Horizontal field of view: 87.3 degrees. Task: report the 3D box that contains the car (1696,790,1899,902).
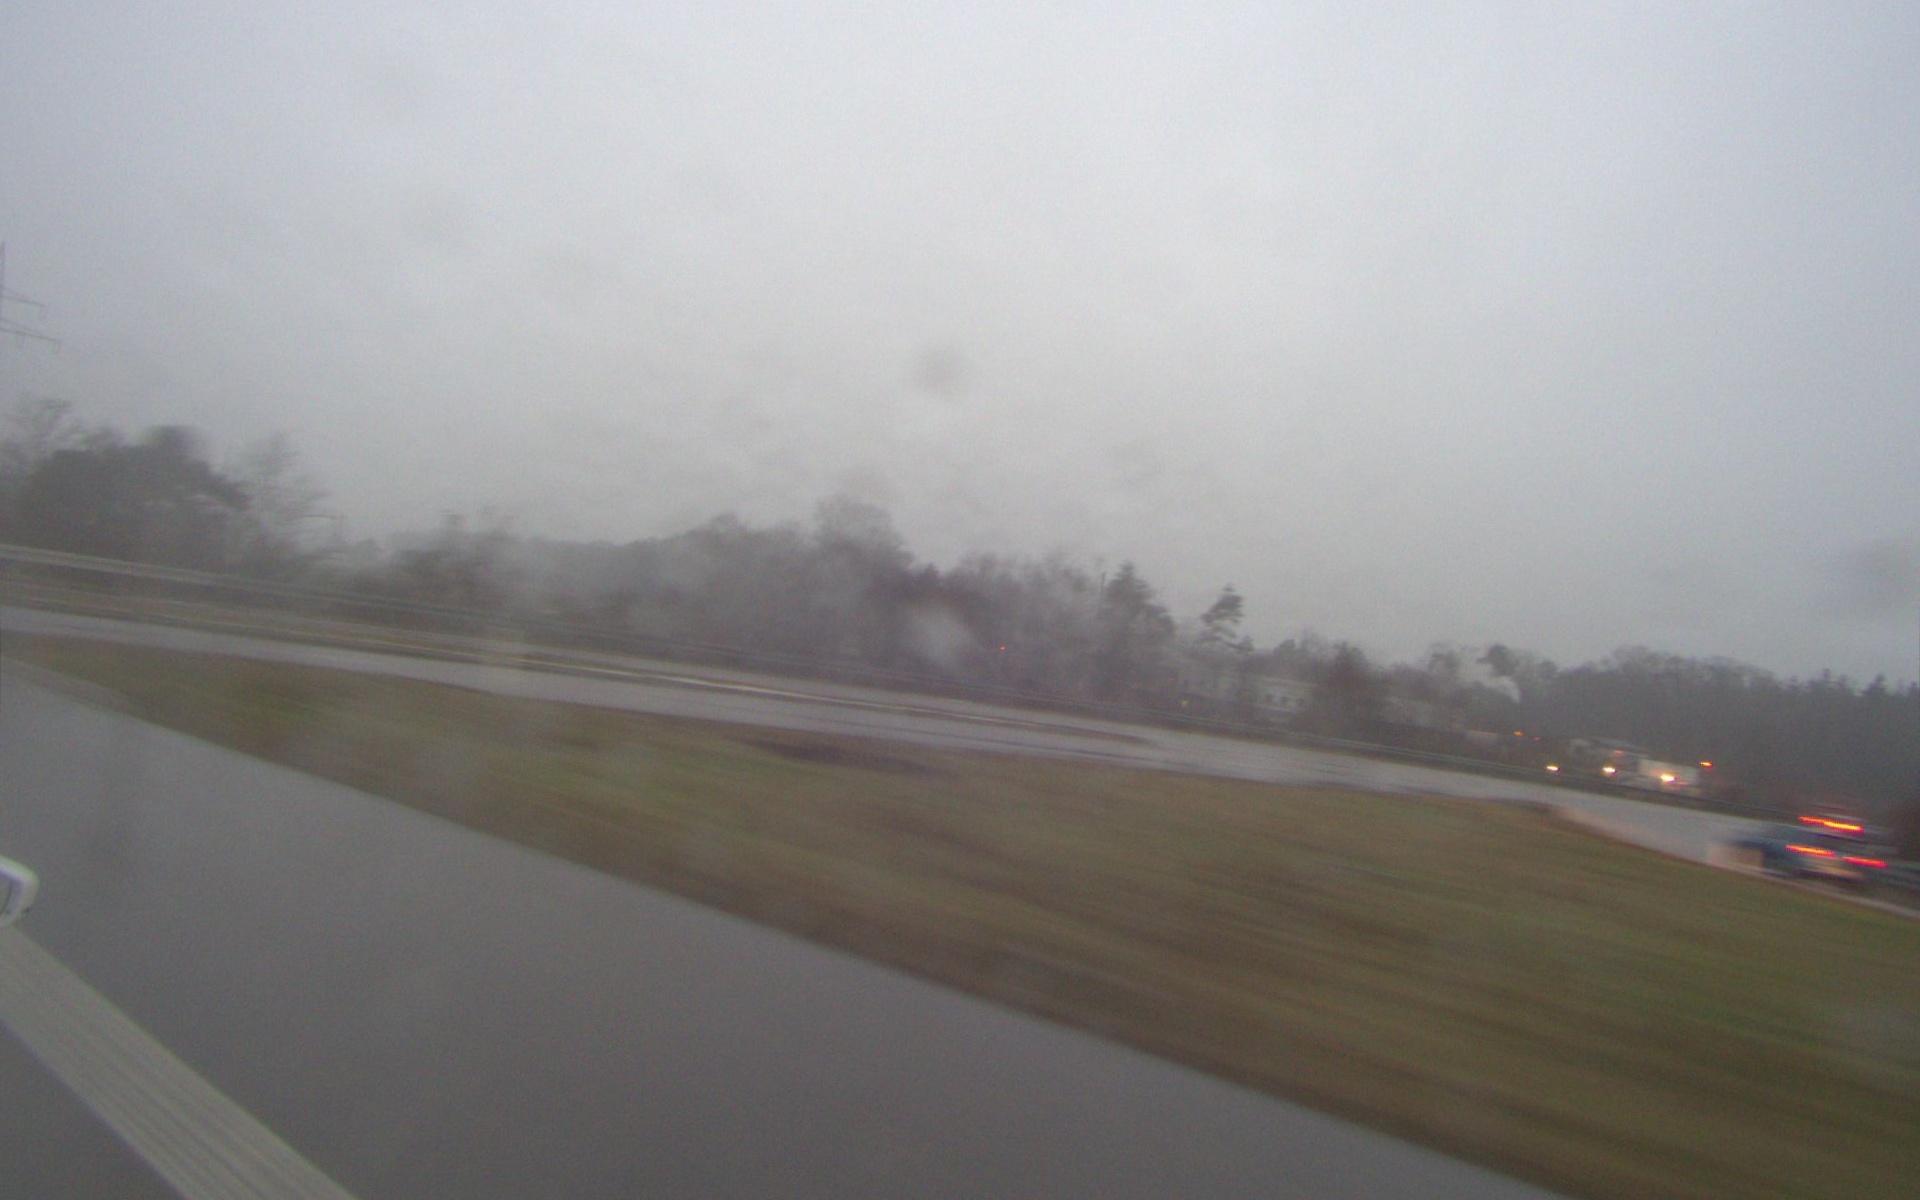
[{"bbox_3d":[22.414,6.510,27.243,1.962,1.955,4.918,8,-3,12],"label":"car"}]
